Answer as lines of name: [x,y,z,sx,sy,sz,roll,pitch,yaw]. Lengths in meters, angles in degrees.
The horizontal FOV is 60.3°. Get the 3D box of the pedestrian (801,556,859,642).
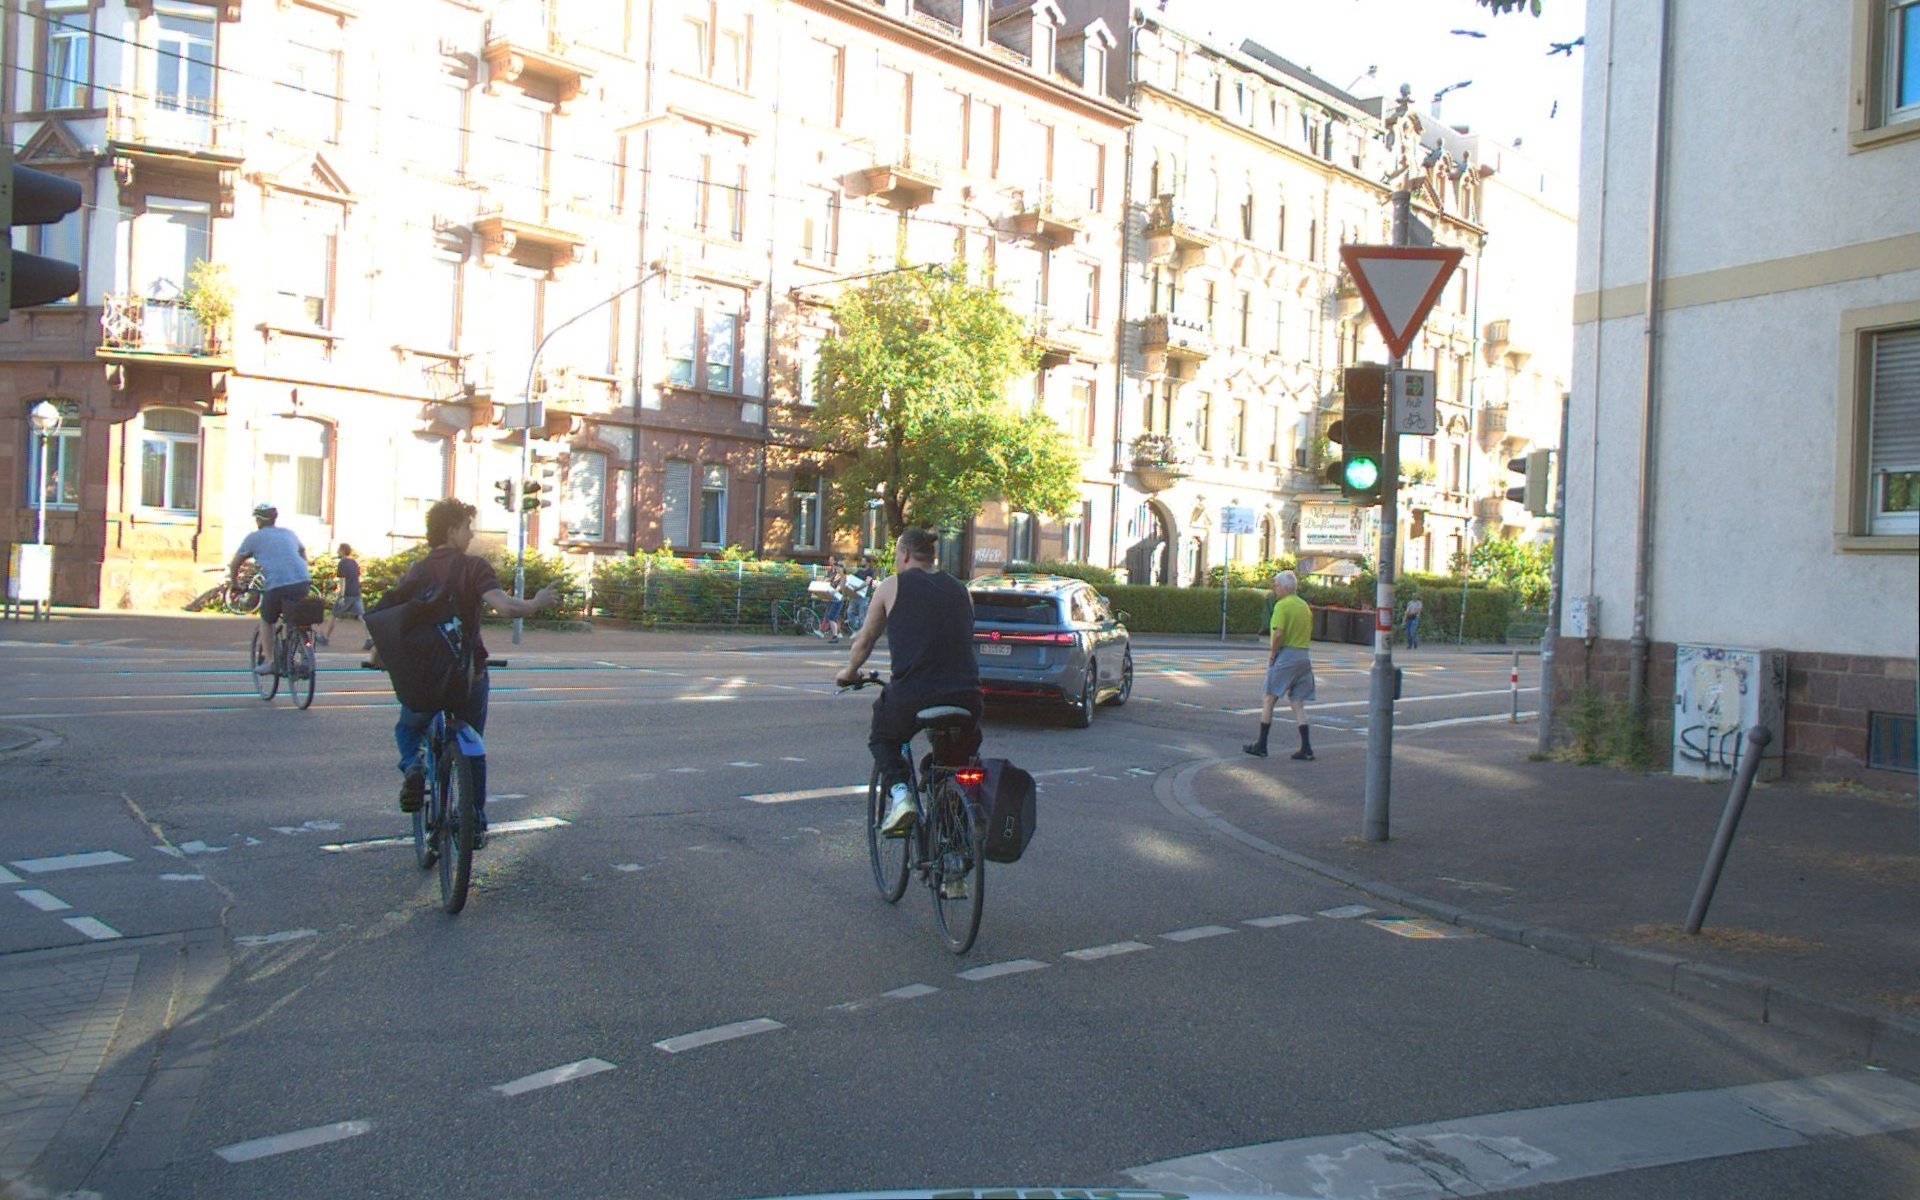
pedestrian: [-2.691,-0.026,34.250,0.886,1.693,0.705,2,3,-30]

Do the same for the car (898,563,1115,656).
car: [0.997,0.210,33.170,1.915,1.678,4.382,3,1,43]

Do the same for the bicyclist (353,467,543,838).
bicyclist: [-2.403,0.225,7.707,0.697,1.600,0.950,2,0,-23]

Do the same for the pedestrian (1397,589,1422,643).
pedestrian: [14.233,0.504,52.391,0.490,1.669,0.519,2,0,-36]

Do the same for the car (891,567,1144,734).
car: [0.813,0.503,19.119,1.928,1.613,4.478,2,1,15]

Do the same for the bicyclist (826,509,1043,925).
bicyclist: [-0.135,0.474,7.283,0.676,1.685,0.984,1,0,-18]

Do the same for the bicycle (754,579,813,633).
bicycle: [-3.841,0.131,36.095,1.223,1.126,0.436,2,2,-42]

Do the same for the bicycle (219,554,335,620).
bicycle: [-12.976,-0.244,31.445,1.927,1.126,0.442,4,0,-14]

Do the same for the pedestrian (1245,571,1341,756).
pedestrian: [3.253,0.598,16.207,0.631,1.757,0.886,0,1,-11]

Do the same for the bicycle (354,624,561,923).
bicycle: [-2.392,0.726,7.718,0.707,1.126,1.953,2,1,-22]

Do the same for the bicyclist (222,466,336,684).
bicyclist: [-6.351,-0.229,15.417,0.786,1.946,0.935,2,0,-31]

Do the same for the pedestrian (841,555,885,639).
pedestrian: [-2.084,-0.067,35.461,0.629,1.745,0.656,2,0,-34]

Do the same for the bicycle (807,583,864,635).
bicycle: [-2.778,0.203,37.022,1.223,1.126,0.436,2,1,-42]

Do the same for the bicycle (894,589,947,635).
bicycle: [-0.915,0.286,38.814,1.223,1.056,0.436,2,1,-43]

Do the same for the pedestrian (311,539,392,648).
pedestrian: [-9.819,-0.116,26.708,0.883,1.663,0.726,4,2,11]

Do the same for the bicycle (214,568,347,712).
bicycle: [-6.339,0.338,15.365,0.801,1.205,2.204,2,1,-31]

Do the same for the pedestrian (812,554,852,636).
pedestrian: [-2.765,-0.101,35.788,0.629,1.745,0.515,2,0,-34]
